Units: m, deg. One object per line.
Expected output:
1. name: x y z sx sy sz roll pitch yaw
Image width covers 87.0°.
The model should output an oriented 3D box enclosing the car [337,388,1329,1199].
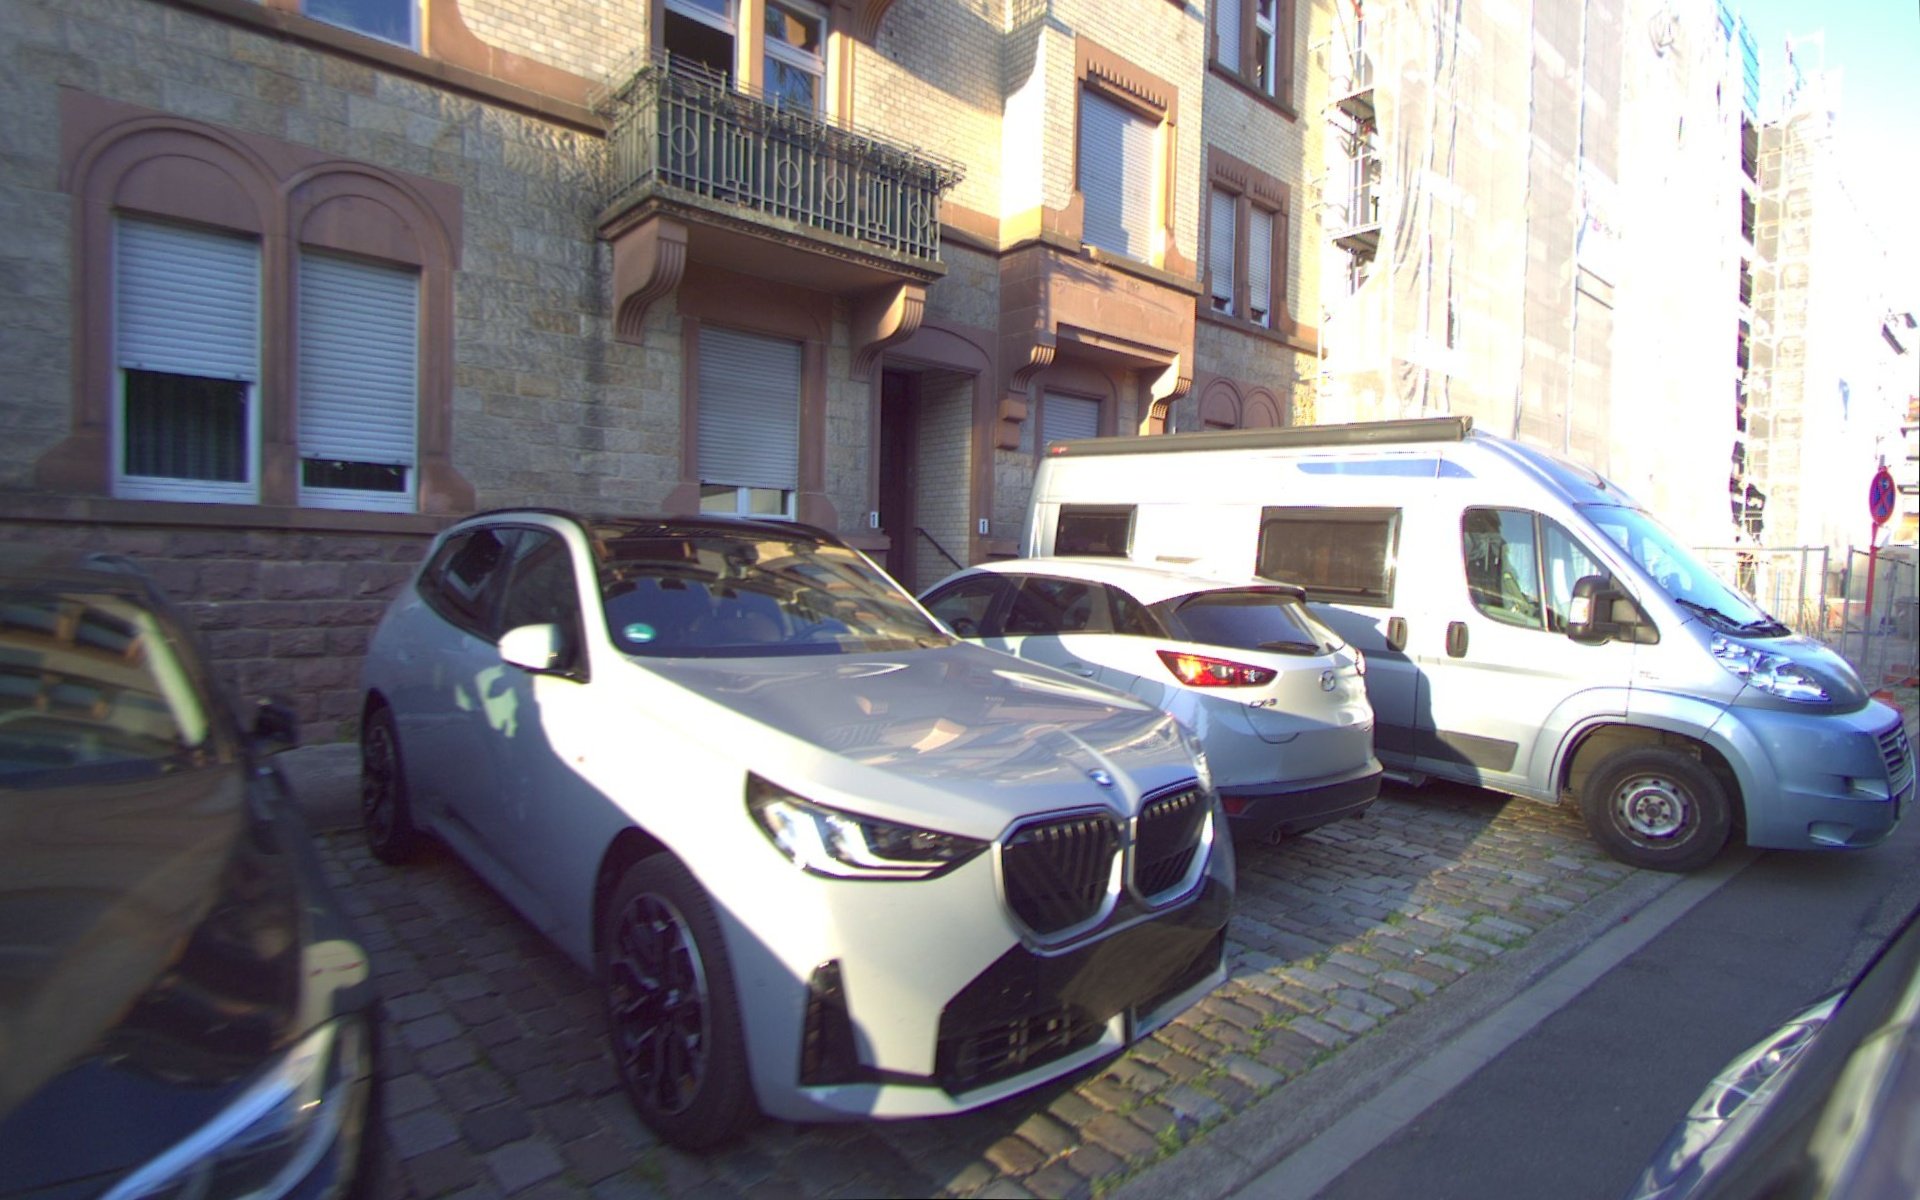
1. car: -1.040 0.382 4.146 1.814 1.770 4.412 1 2 -42

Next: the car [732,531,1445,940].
1. car: 0.413 0.458 6.352 1.813 1.638 4.414 -3 3 -39

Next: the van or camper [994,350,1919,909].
1. van or camper: 3.063 -0.055 7.562 2.014 2.534 6.074 0 4 -40

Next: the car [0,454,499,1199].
1. car: -2.657 0.536 2.455 1.813 1.572 4.416 -3 5 -38

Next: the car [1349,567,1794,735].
1. car: 6.830 0.422 11.669 1.657 1.458 4.056 -2 4 -41
